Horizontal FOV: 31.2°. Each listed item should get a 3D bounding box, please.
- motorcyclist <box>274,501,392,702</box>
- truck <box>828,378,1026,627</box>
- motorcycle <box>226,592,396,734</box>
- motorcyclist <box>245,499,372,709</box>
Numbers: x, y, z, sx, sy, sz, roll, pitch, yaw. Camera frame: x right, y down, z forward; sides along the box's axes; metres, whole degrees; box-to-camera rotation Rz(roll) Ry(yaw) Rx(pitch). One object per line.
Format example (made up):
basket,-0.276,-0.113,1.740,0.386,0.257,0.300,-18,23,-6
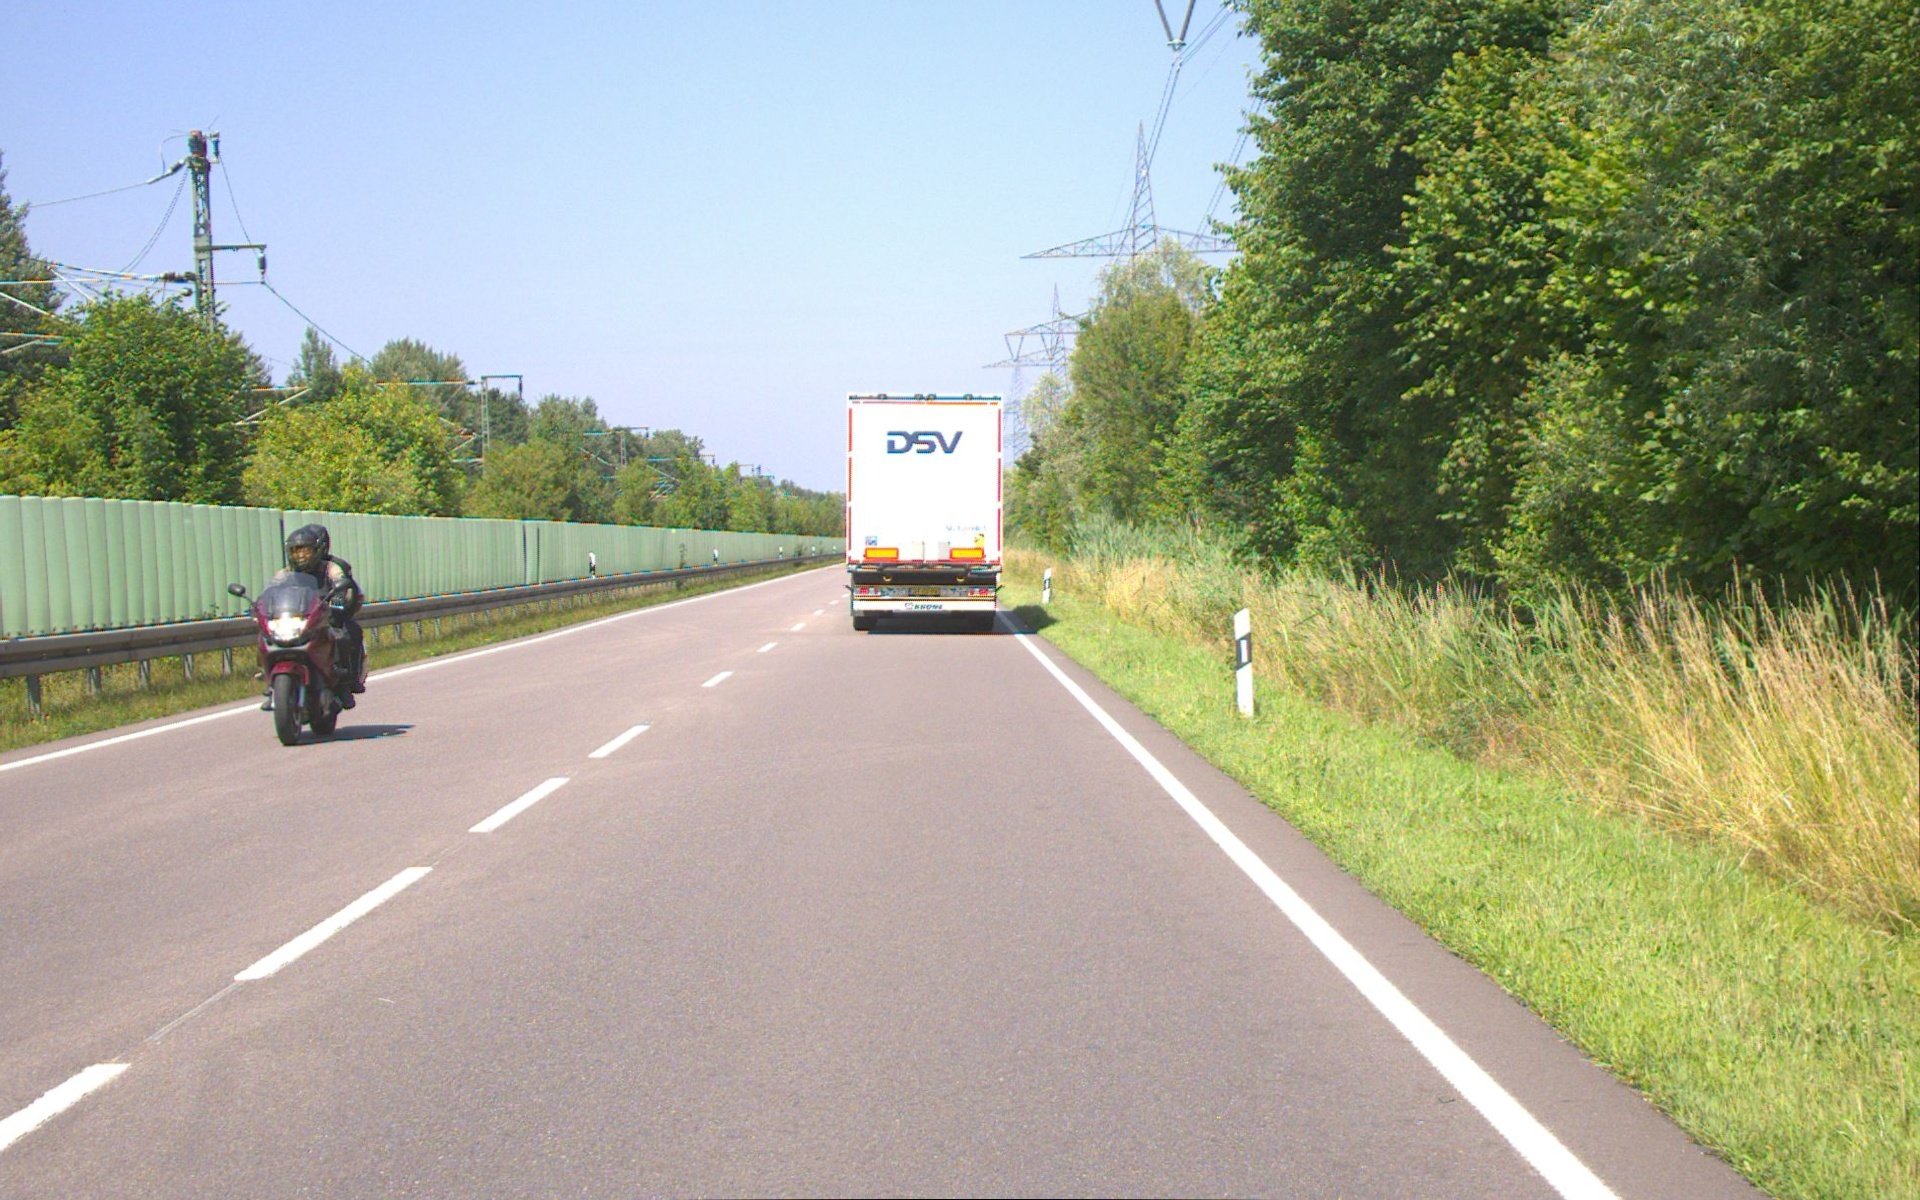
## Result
motorcyclist,-5.006,0.006,27.486,0.749,1.577,0.863,1,1,1
truck,-0.639,-1.696,62.034,3.192,4.029,12.008,-1,1,-1
motorcycle,-5.019,0.460,26.751,0.754,1.010,2.721,1,1,1
motorcyclist,-5.018,0.023,26.536,0.758,1.577,1.003,1,1,1
